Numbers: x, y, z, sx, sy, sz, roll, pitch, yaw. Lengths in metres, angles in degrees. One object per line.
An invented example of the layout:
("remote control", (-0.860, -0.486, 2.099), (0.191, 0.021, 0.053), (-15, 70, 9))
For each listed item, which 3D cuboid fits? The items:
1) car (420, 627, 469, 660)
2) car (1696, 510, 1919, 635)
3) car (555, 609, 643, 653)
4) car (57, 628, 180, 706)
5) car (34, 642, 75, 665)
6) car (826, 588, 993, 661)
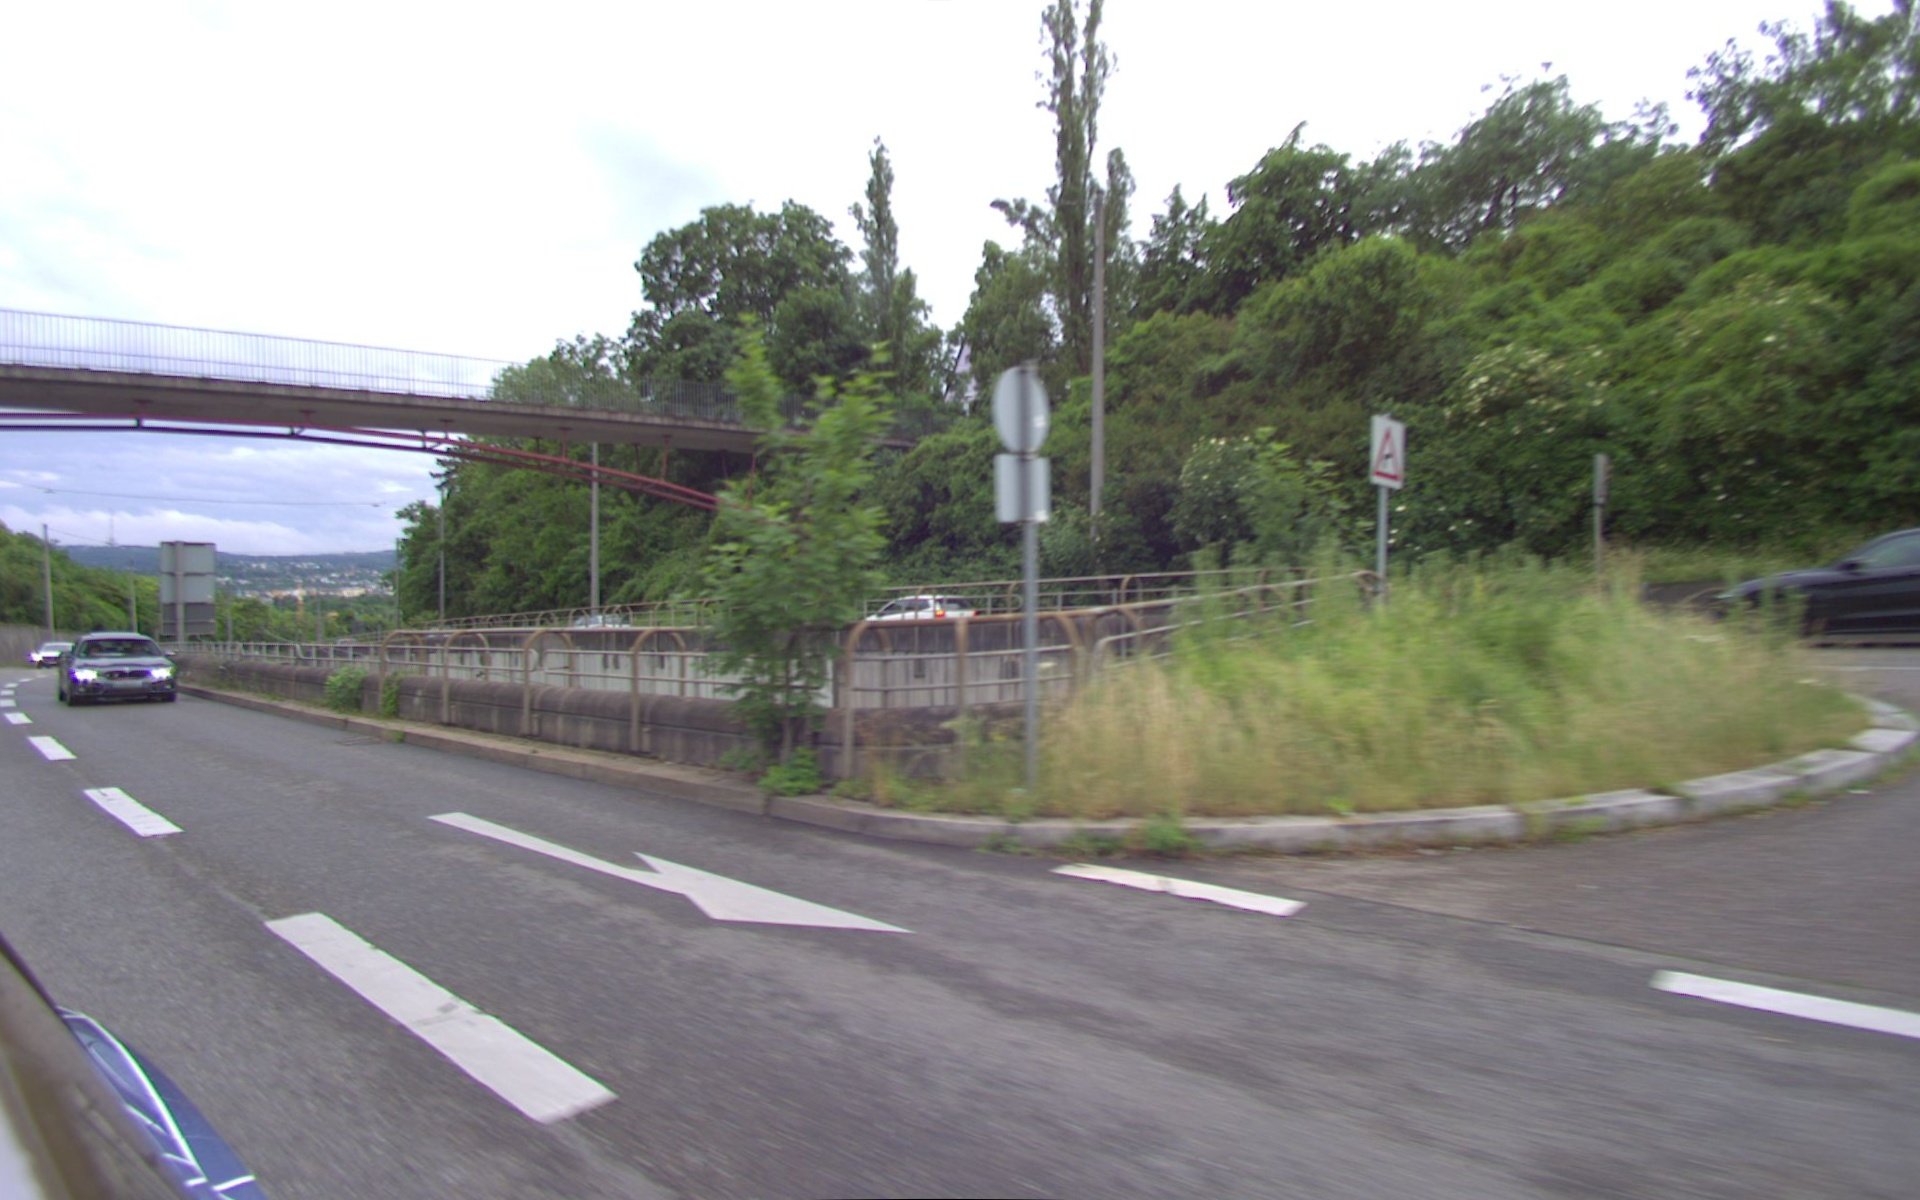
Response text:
("car", (-31.454, 2.666, 61.704), (1.650, 1.930, 4.566), (2, -3, -40))
("car", (13.244, -0.411, 13.995), (4.723, 1.649, 1.972), (-1, 2, 44))
("car", (-15.294, 1.329, 42.763), (1.968, 1.734, 4.712), (2, -3, -40))
("car", (-17.870, 1.365, 21.430), (1.705, 1.482, 3.890), (0, -2, -44))
("car", (-65.030, 3.817, 72.742), (1.781, 1.521, 4.009), (-2, 0, -36))
("car", (-1.475, 0.670, 28.219), (4.630, 1.848, 1.972), (-2, -1, 43))
